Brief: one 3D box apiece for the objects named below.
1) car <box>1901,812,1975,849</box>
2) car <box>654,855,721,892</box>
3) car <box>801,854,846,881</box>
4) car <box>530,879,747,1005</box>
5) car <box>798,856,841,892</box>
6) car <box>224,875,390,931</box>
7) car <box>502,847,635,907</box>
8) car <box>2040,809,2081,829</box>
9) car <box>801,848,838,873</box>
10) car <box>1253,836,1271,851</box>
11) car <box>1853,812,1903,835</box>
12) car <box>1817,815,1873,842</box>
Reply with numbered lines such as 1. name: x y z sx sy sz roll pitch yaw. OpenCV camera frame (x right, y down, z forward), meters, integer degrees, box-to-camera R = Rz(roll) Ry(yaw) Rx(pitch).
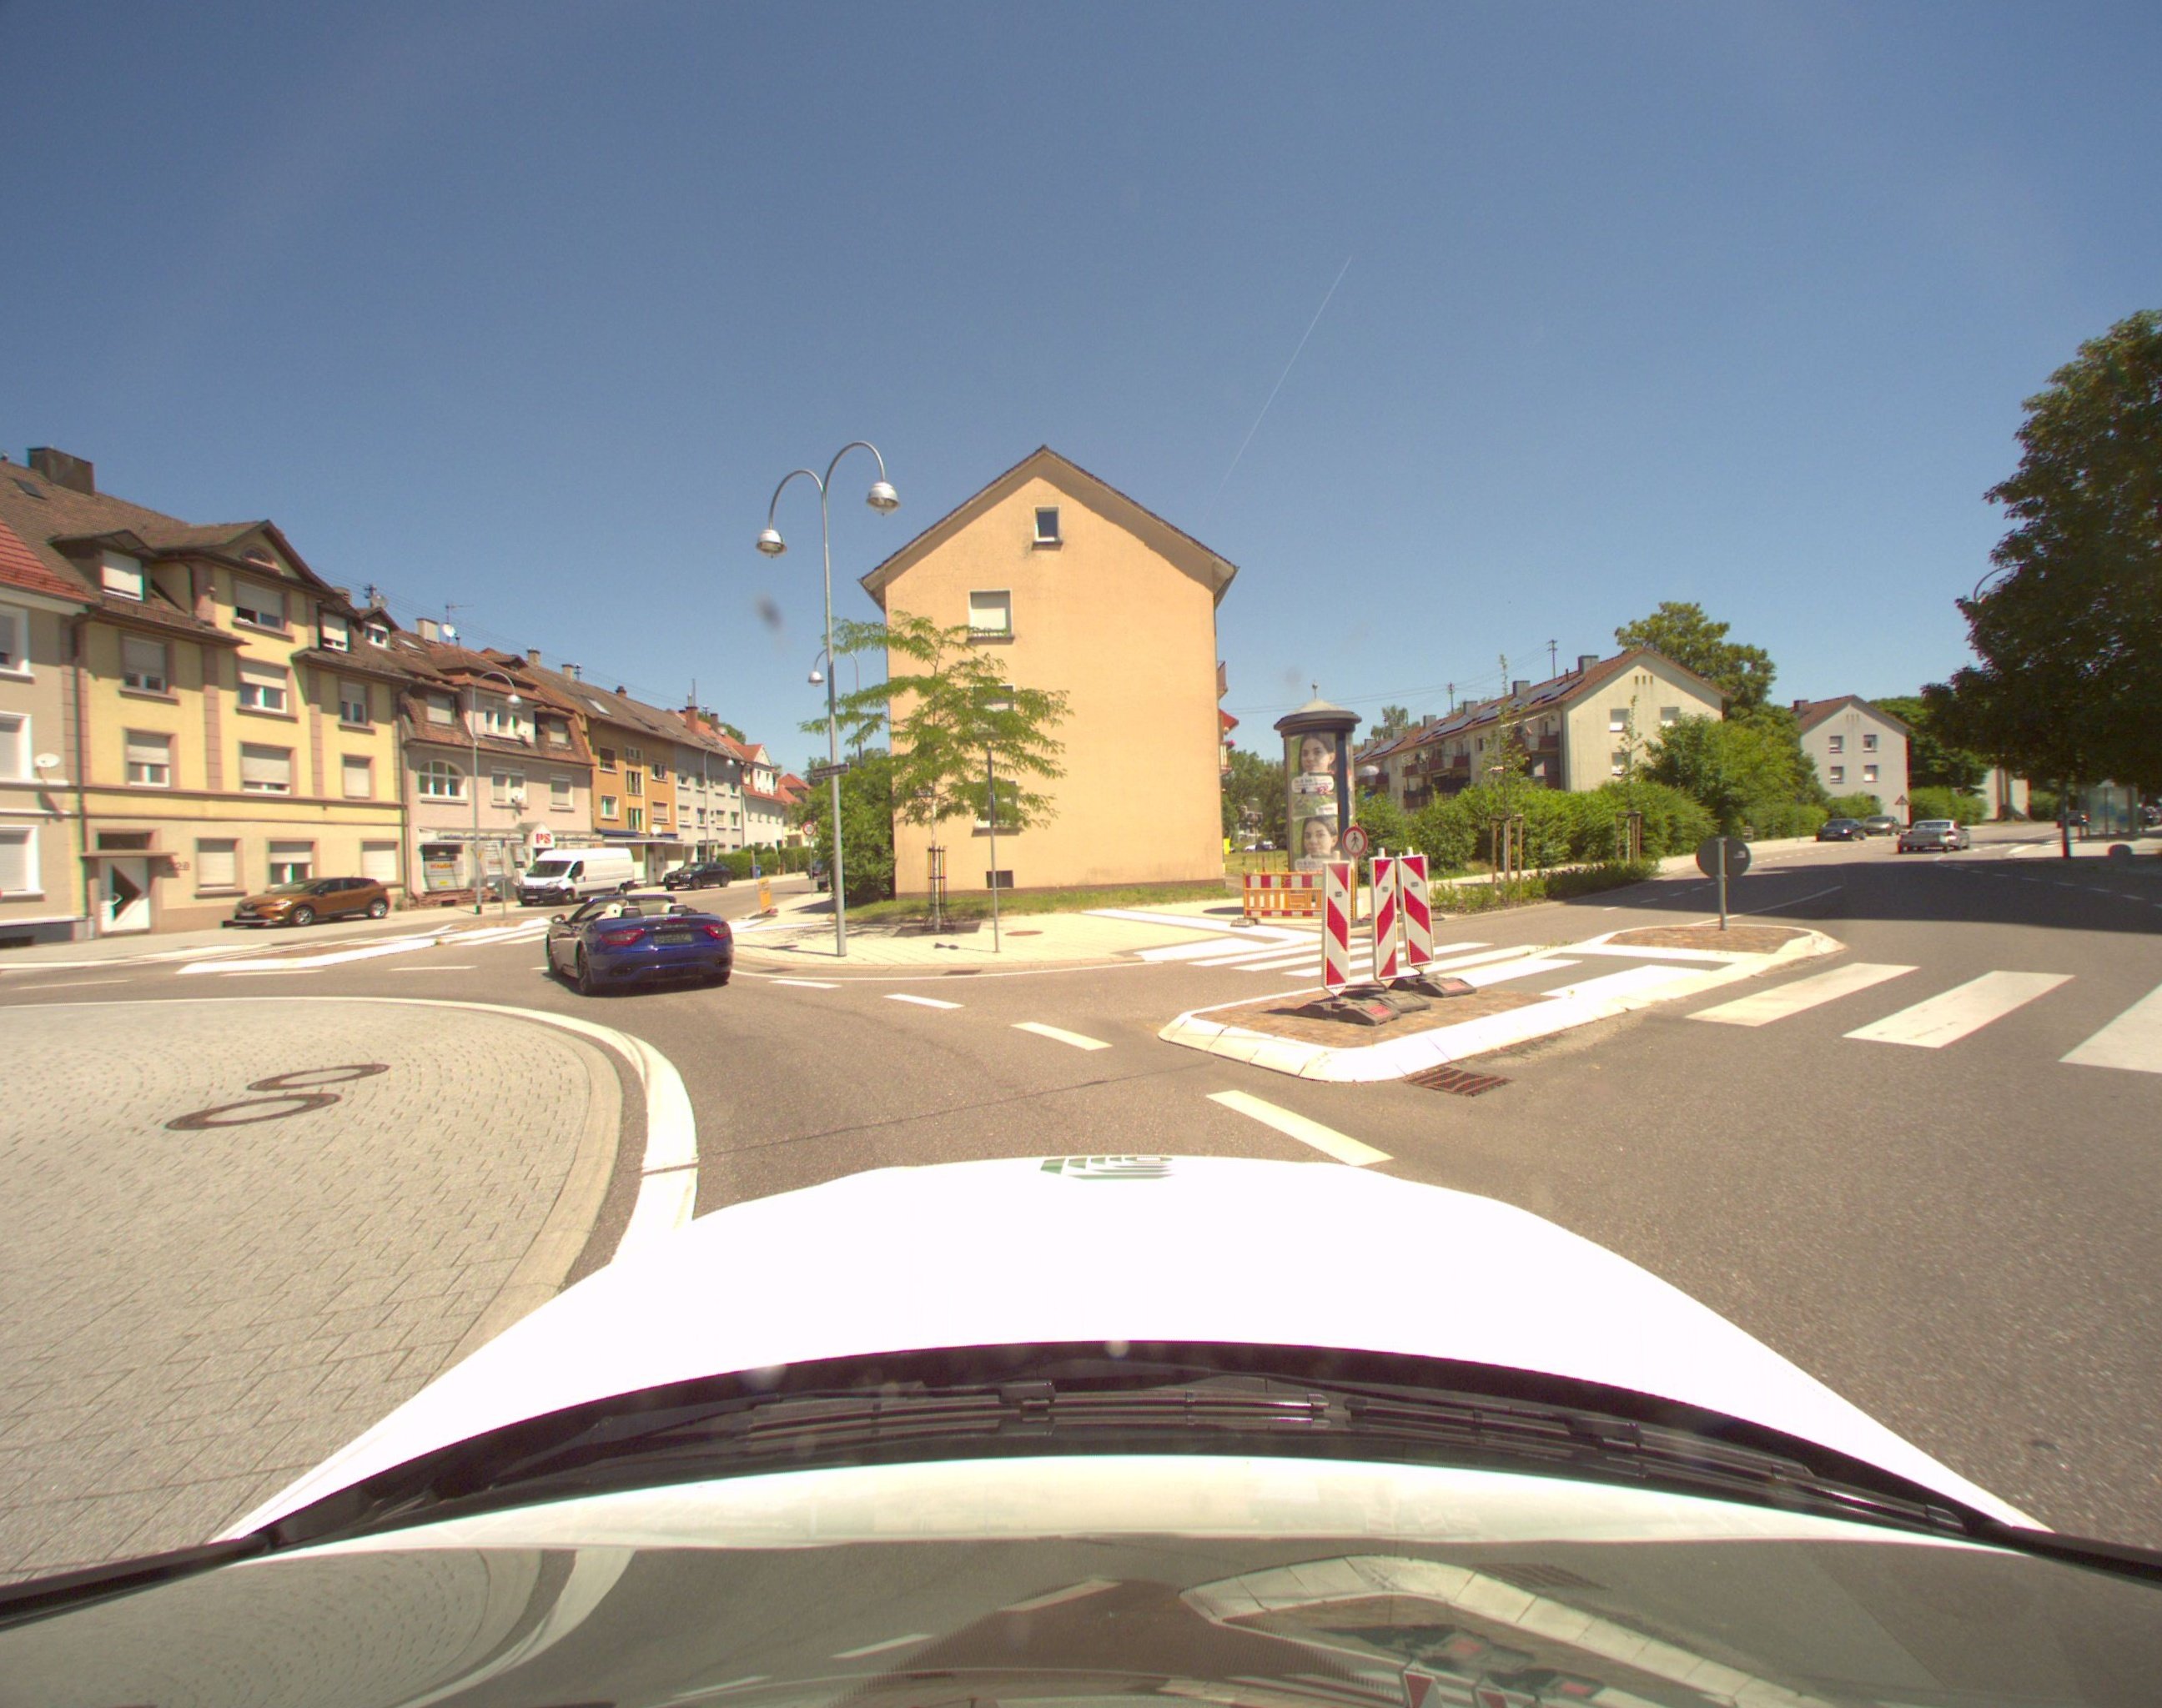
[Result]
1. car: 38.734 -1.057 36.789 3.726 1.436 1.725 -3 -1 -35
2. car: -23.404 1.137 48.606 2.062 2.013 3.997 -3 0 -2
3. car: -19.156 0.999 60.797 1.989 1.814 4.209 -4 0 -2
4. car: -6.915 1.282 12.484 1.887 1.530 4.451 0 -4 -43
5. car: -13.506 1.003 42.185 1.882 1.631 3.573 -2 2 -15
6. car: -26.145 1.587 27.727 1.592 1.616 4.095 0 0 3
7. car: -23.607 0.958 37.917 2.137 2.532 6.239 -1 0 1
8. car: 79.469 -2.852 66.085 3.726 1.436 1.726 -3 -1 -34
9. car: -22.222 0.531 69.299 2.064 2.013 3.994 -3 0 -4
10. car: 20.132 -1.156 90.537 1.726 1.436 3.725 -4 0 14
11. car: 57.502 -2.232 58.739 3.725 1.436 1.726 -3 -1 -33
12. car: 48.191 -1.625 51.355 3.725 1.436 1.726 -3 -1 -33
